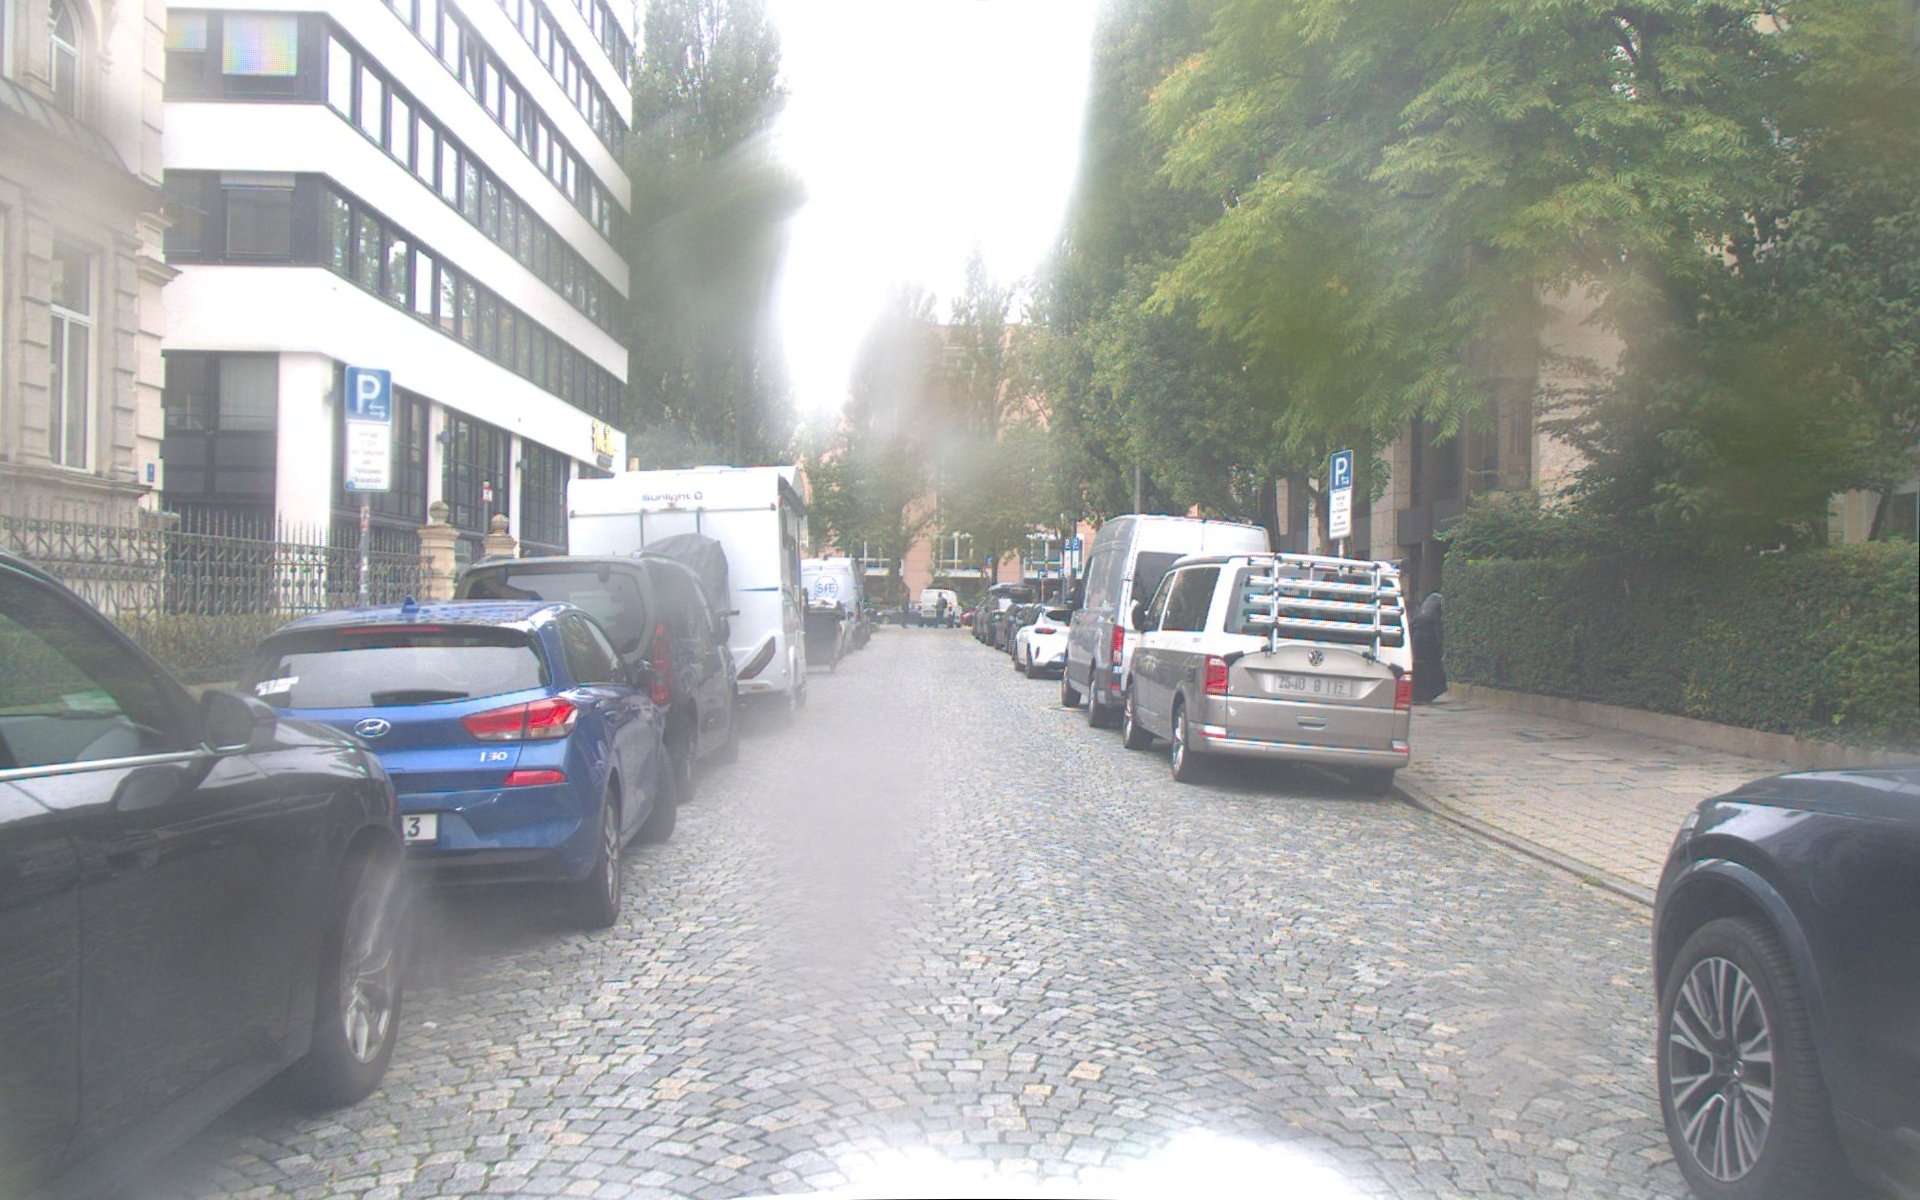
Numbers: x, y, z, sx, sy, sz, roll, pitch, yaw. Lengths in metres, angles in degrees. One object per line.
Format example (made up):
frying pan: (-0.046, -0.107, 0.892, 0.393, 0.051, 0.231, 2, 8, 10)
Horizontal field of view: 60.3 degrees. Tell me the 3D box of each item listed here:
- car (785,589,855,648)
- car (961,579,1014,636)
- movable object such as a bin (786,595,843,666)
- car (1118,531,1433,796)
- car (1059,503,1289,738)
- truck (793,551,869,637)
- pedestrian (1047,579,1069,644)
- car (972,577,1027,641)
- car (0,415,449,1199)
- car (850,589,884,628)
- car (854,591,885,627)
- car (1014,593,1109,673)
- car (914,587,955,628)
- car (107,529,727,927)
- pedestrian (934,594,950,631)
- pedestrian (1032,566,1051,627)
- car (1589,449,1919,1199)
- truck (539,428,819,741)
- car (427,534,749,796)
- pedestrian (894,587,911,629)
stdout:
car: (-3.709, 0.489, 44.346, 1.628, 1.481, 3.546, 1, 0, -1)
car: (0.956, 0.276, 60.215, 1.830, 1.995, 4.000, 1, 0, 0)
movable object such as a bin: (-2.926, 0.609, 33.413, 1.042, 1.387, 1.289, 1, -1, -2)
car: (2.741, 0.517, 15.550, 1.764, 1.983, 4.858, 4, 0, -2)
car: (2.550, 0.203, 21.231, 1.857, 2.468, 5.609, 5, 0, -2)
truck: (-3.764, -0.153, 48.762, 1.953, 2.388, 4.066, 1, 0, -1)
pedestrian: (3.438, 0.407, 58.000, 0.697, 2.229, 0.813, 1, -1, 0)
car: (1.299, 0.307, 55.875, 1.708, 2.067, 3.865, 1, 0, 0)
car: (-2.468, 0.535, 3.159, 1.738, 1.747, 4.390, 1, 1, -2)
car: (-3.886, 0.344, 69.305, 1.264, 1.566, 3.118, 1, 0, -1)
car: (-4.040, 0.414, 74.239, 1.251, 1.568, 3.118, 1, 0, -1)
car: (2.029, 0.646, 33.836, 1.567, 1.512, 3.477, 1, 0, -2)
car: (-1.235, 0.396, 82.731, 1.955, 1.970, 4.000, 1, 0, 0)
car: (-2.359, 0.508, 8.369, 1.901, 1.485, 4.056, 1, 0, -2)
pedestrian: (-0.847, 0.588, 78.598, 0.673, 1.716, 0.500, 1, -1, 1)
pedestrian: (3.333, -0.158, 67.892, 0.697, 2.468, 0.813, -1, 1, 0)
car: (2.977, 0.597, 2.602, 1.923, 1.789, 4.952, 1, 0, -2)
truck: (-3.065, -0.184, 19.670, 2.458, 3.085, 6.381, -1, 0, -3)
car: (-2.807, 0.437, 13.409, 1.856, 1.781, 4.165, 0, 0, -3)
pedestrian: (-2.704, 0.371, 77.839, 0.710, 1.944, 0.641, 1, -1, 0)
